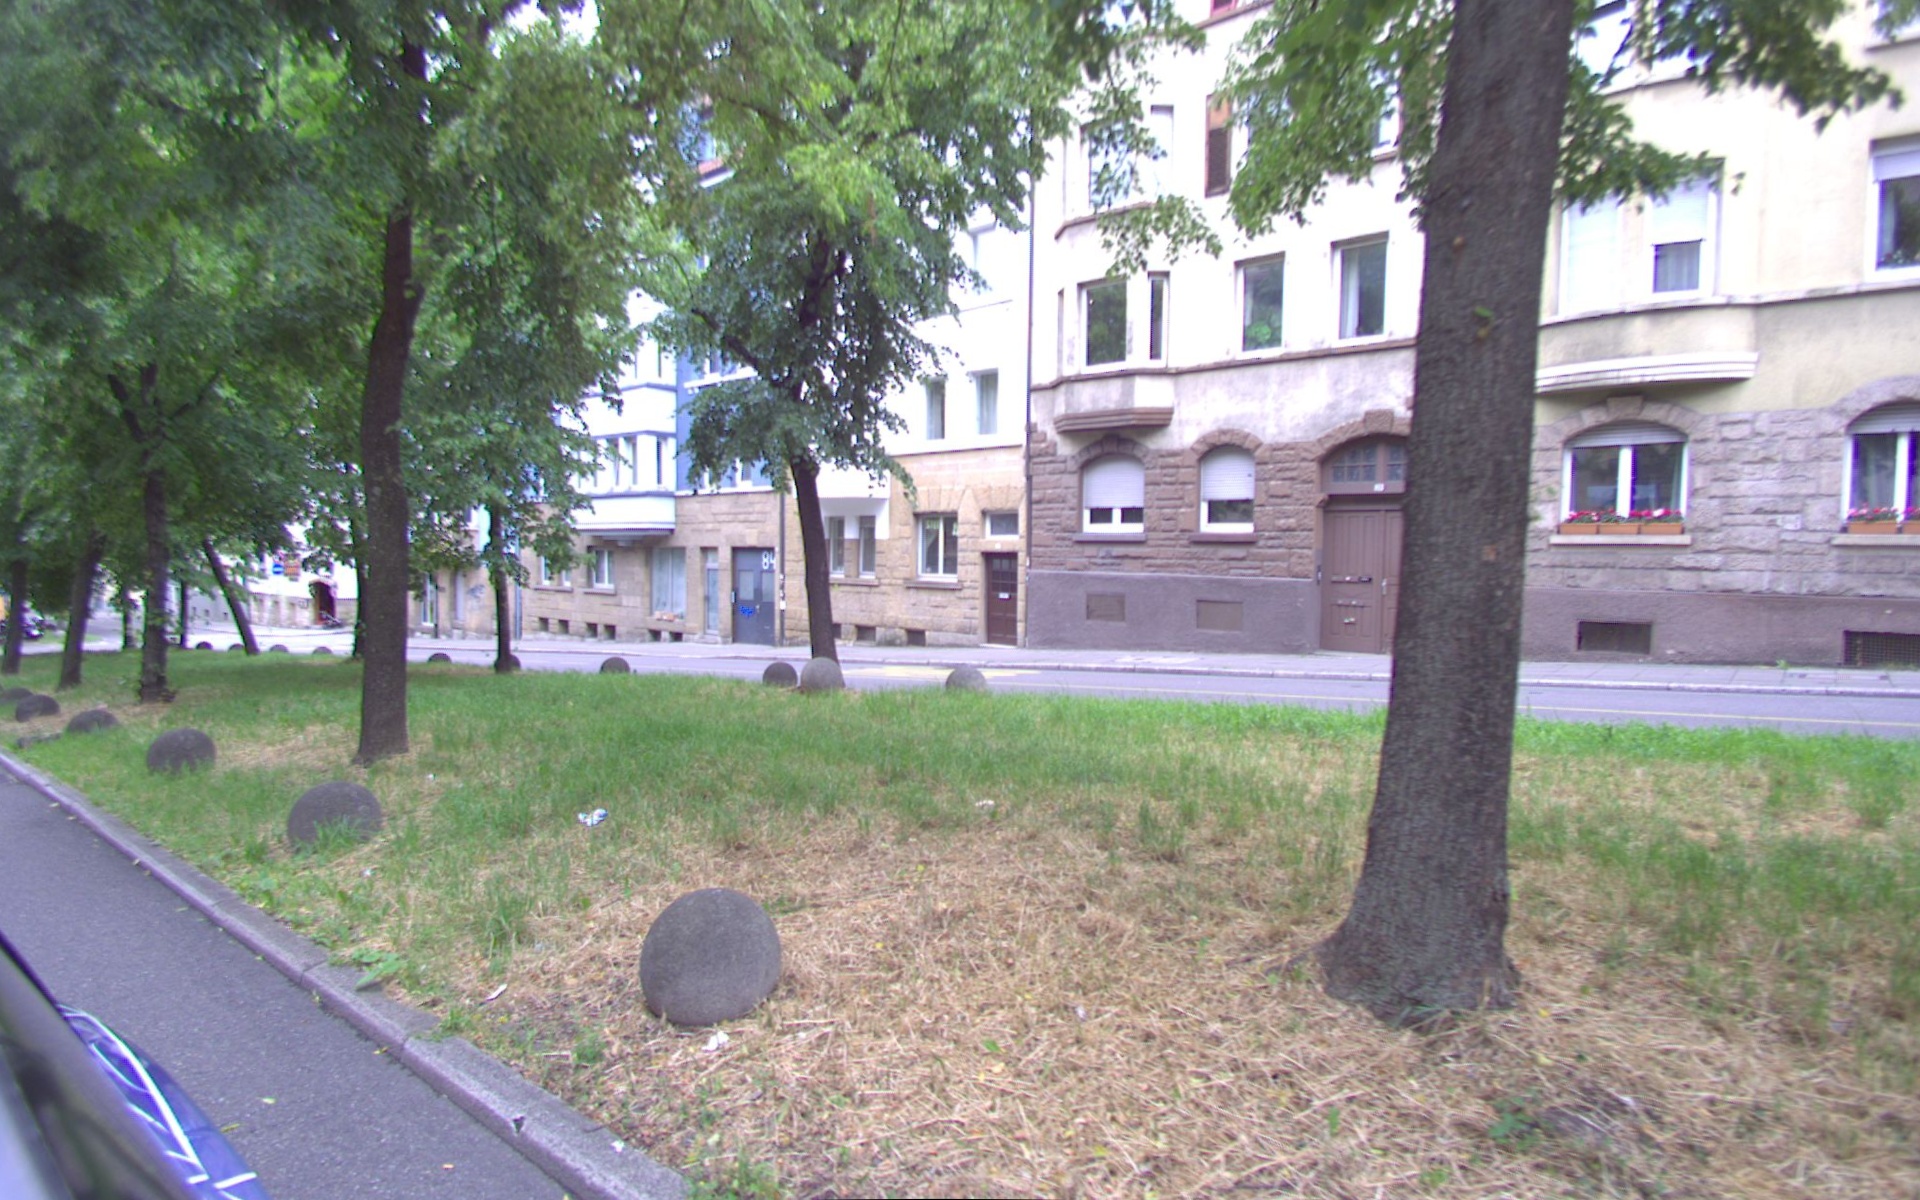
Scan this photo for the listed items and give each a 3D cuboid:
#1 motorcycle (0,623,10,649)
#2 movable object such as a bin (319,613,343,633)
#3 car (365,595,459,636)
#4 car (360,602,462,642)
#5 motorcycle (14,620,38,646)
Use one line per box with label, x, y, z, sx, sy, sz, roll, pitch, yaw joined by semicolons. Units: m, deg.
motorcycle;-43.523;1.637;45.058;0.551;1.104;1.712;3;4;44
movable object such as a bin;-33.683;1.234;54.179;0.667;1.000;0.877;0;4;39
car;-29.748;0.804;54.987;1.871;1.711;3.957;0;7;41
car;-27.296;1.051;50.402;1.869;1.480;3.961;2;7;38
motorcycle;-43.779;1.530;47.453;0.740;1.081;1.854;-2;4;-42
